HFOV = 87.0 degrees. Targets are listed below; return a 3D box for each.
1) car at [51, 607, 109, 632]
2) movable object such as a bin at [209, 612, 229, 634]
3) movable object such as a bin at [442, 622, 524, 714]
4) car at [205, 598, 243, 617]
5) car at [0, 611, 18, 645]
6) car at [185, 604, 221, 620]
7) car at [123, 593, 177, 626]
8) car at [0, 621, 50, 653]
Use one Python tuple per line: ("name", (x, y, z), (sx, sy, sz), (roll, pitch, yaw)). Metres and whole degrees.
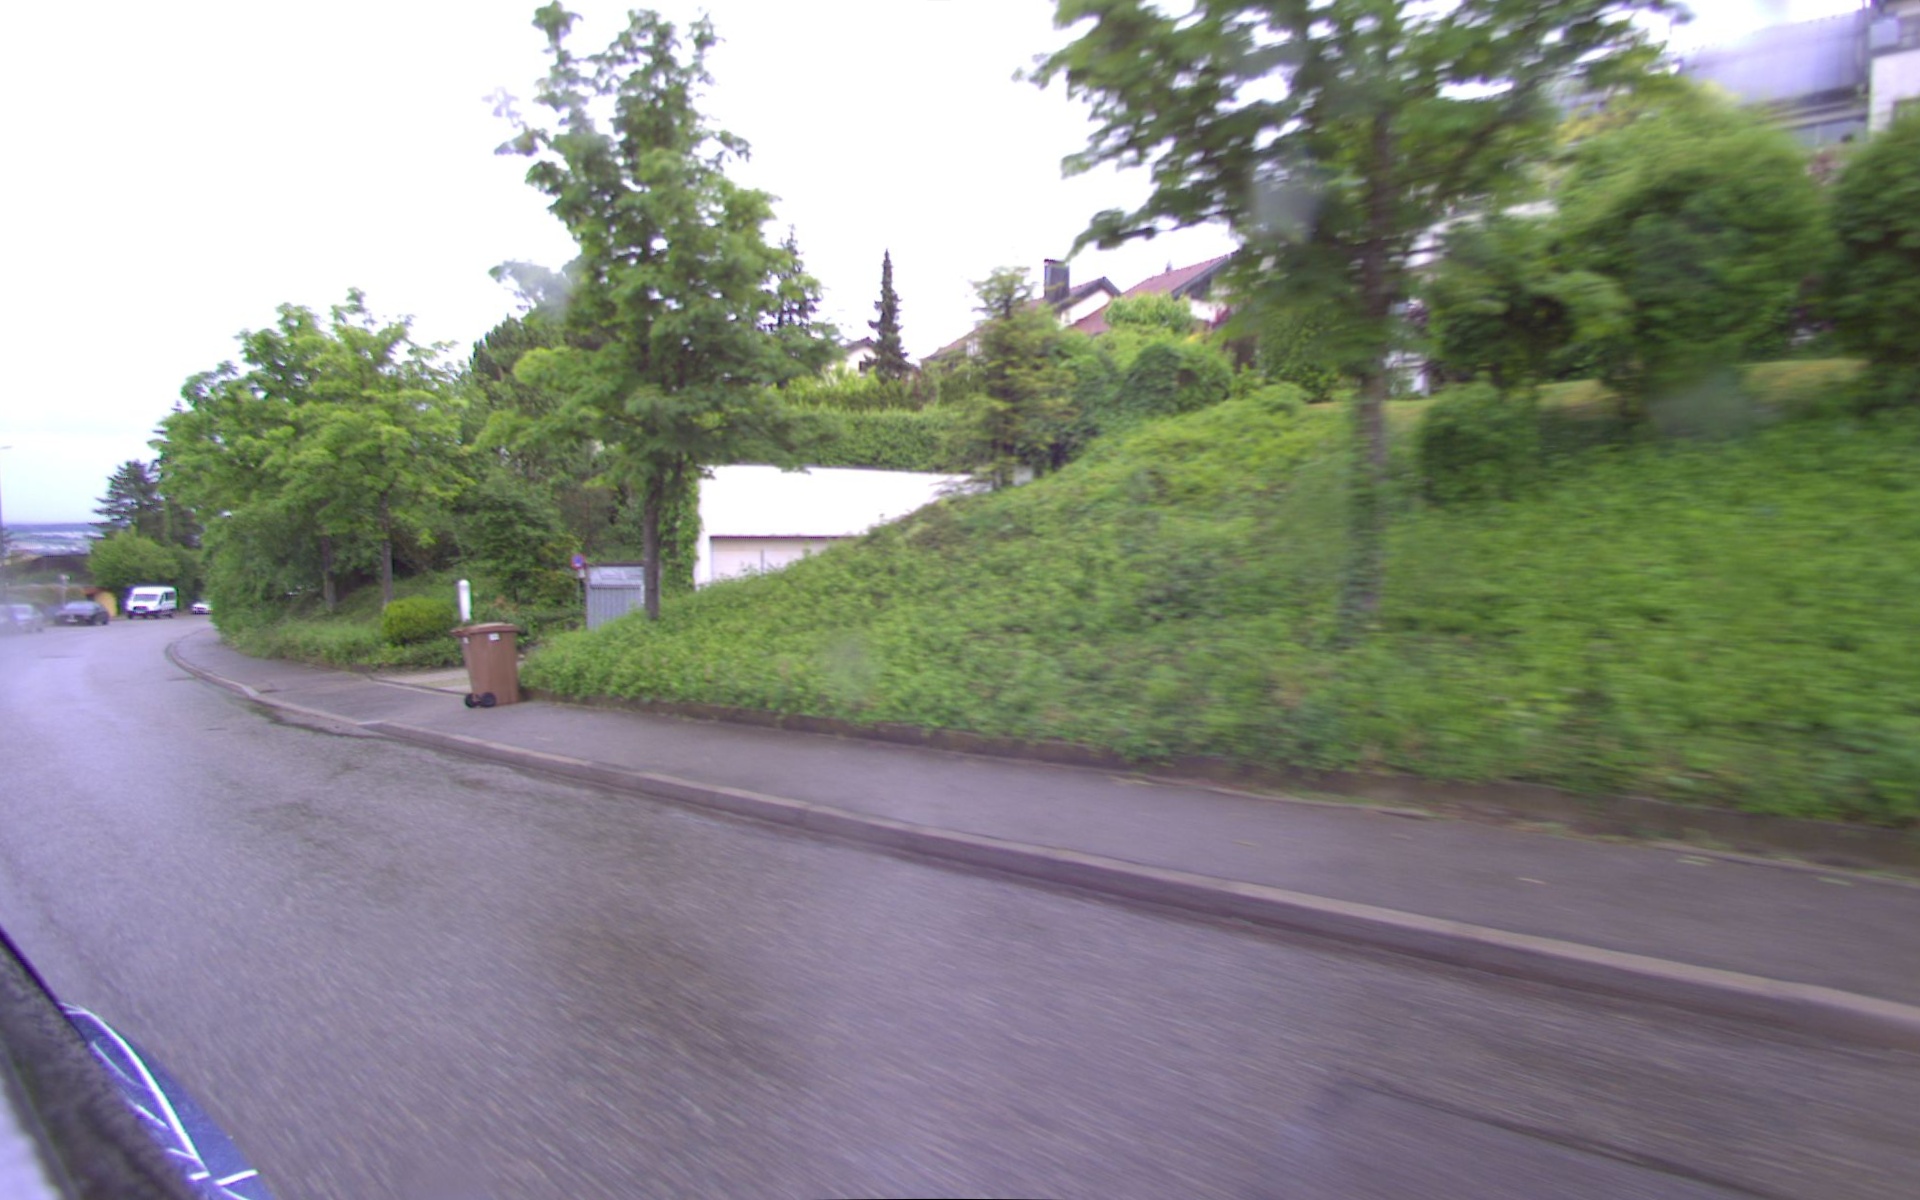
("car", (-56.127, 1.212, 64.620), (1.832, 1.538, 5.079), (2, -1, -30))
("movable object such as a bin", (-36.384, 1.119, 49.690), (0.758, 1.076, 0.692), (0, 0, -39))
("movable object such as a bin", (-6.207, 0.878, 13.161), (0.686, 1.099, 0.804), (-4, -2, -42))
("car", (-73.823, 0.773, 101.564), (1.838, 1.832, 4.878), (0, 0, -20))
("car", (-45.534, 1.284, 47.355), (1.637, 1.478, 3.772), (2, -1, -36))
("car", (-71.589, 1.154, 95.714), (1.724, 1.434, 4.013), (0, 0, -22))
("car", (-65.065, 0.702, 81.367), (2.043, 2.569, 6.202), (0, 0, -26))
("car", (-48.313, 1.876, 51.956), (1.744, 1.478, 4.246), (2, -1, -34))
